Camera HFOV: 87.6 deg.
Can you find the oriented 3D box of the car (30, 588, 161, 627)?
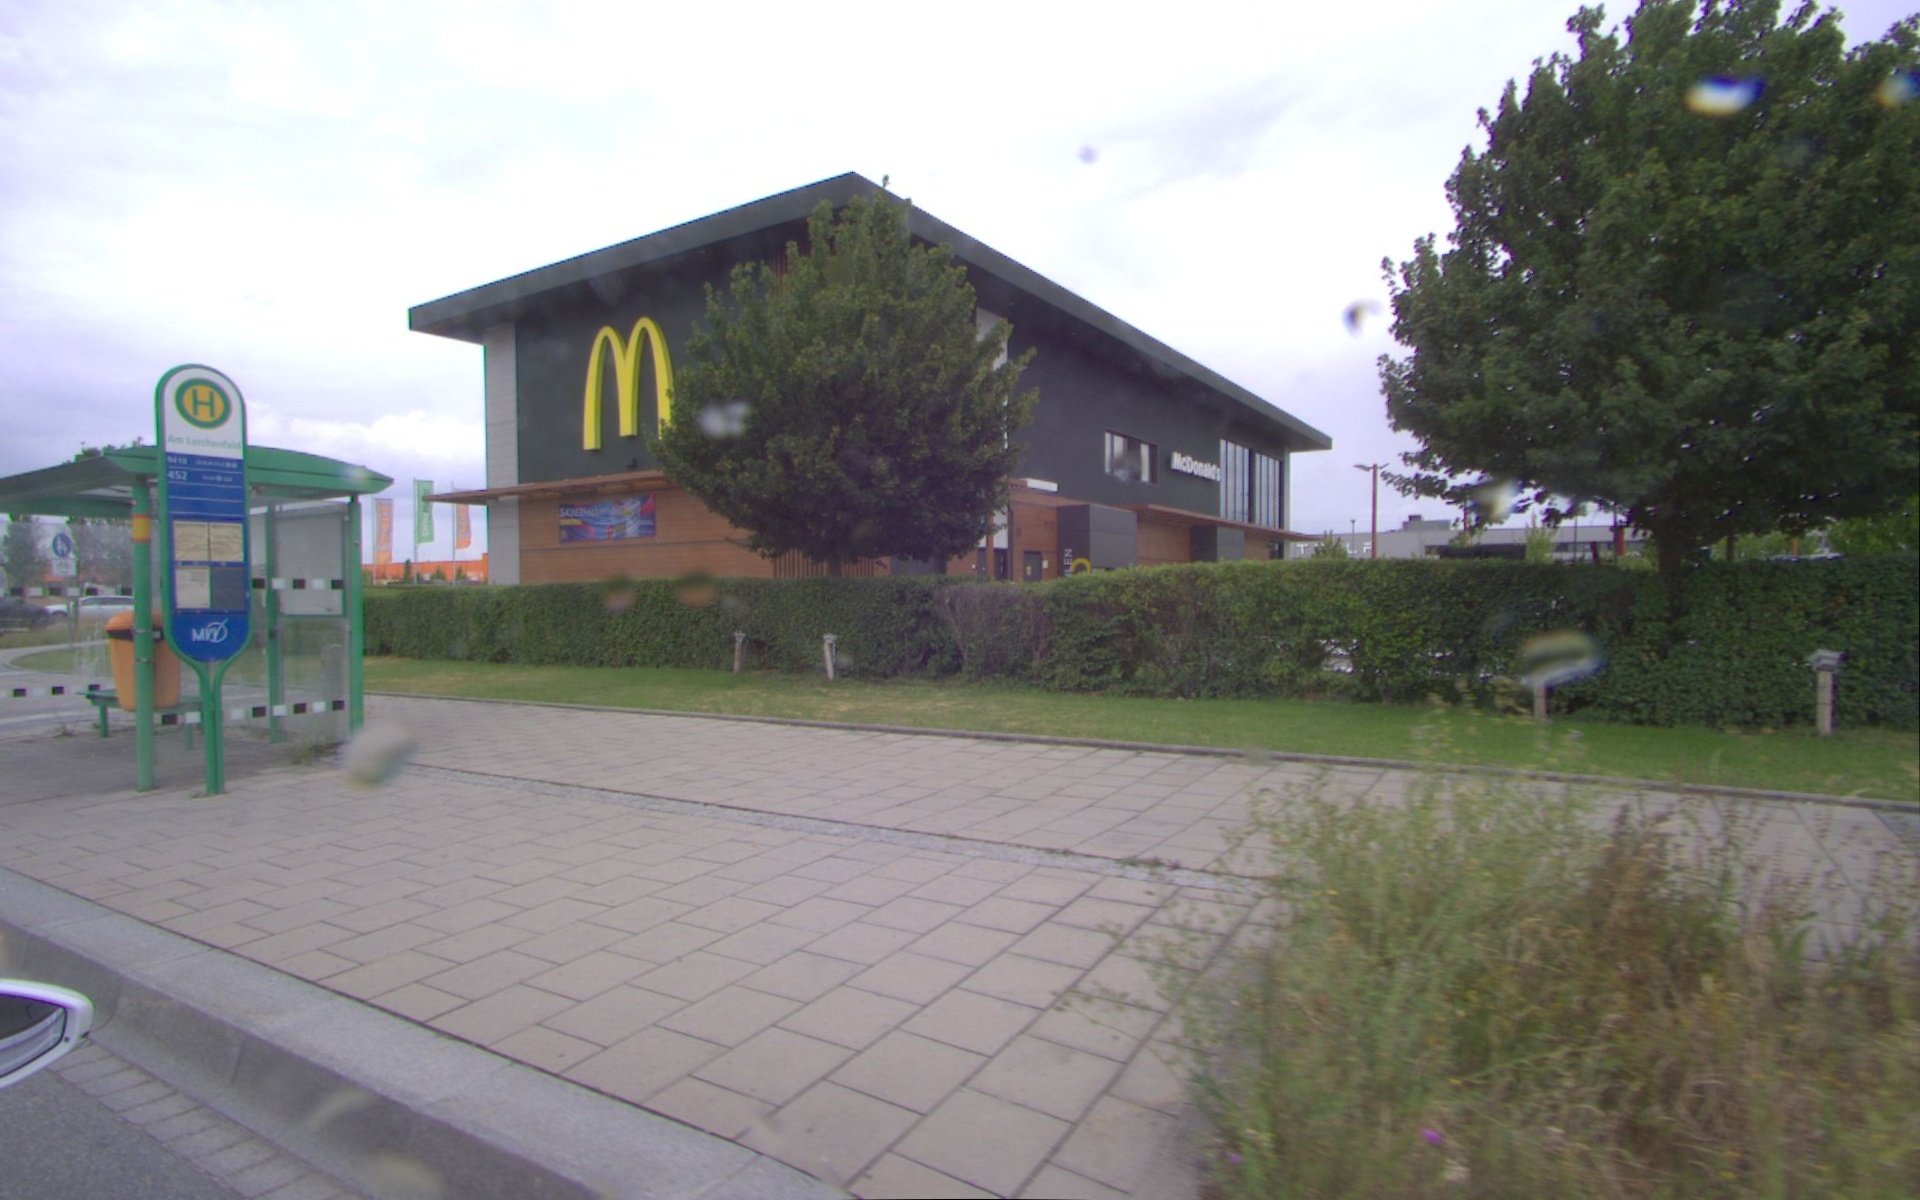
[{"bbox_3d":[-41.335,0.373,47.955,1.978,1.780,4.577,0,0,43],"label":"car"}]

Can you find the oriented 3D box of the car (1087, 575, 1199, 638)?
[{"bbox_3d":[5.545,0.202,30.031,1.972,1.739,3.979,0,0,33],"label":"car"}]

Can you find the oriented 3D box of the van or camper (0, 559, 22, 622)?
[{"bbox_3d":[-40.834,-0.383,40.755,5.123,2.539,2.301,0,0,27],"label":"van or camper"}]

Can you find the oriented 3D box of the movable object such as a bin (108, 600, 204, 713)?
[{"bbox_3d":[-5.964,0.407,7.431,0.374,0.808,0.455,0,0,32],"label":"movable object such as a bin"}]

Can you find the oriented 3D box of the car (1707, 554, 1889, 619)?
[{"bbox_3d":[34.199,-0.532,40.935,5.932,2.562,2.280,0,1,-8],"label":"car"}]

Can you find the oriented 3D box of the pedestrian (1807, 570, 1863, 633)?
[{"bbox_3d":[20.477,0.043,23.443,0.755,1.458,0.624,0,1,2],"label":"pedestrian"}]

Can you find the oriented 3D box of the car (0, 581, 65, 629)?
[{"bbox_3d":[-33.283,0.176,34.123,2.025,1.614,4.200,0,1,-6],"label":"car"}]
